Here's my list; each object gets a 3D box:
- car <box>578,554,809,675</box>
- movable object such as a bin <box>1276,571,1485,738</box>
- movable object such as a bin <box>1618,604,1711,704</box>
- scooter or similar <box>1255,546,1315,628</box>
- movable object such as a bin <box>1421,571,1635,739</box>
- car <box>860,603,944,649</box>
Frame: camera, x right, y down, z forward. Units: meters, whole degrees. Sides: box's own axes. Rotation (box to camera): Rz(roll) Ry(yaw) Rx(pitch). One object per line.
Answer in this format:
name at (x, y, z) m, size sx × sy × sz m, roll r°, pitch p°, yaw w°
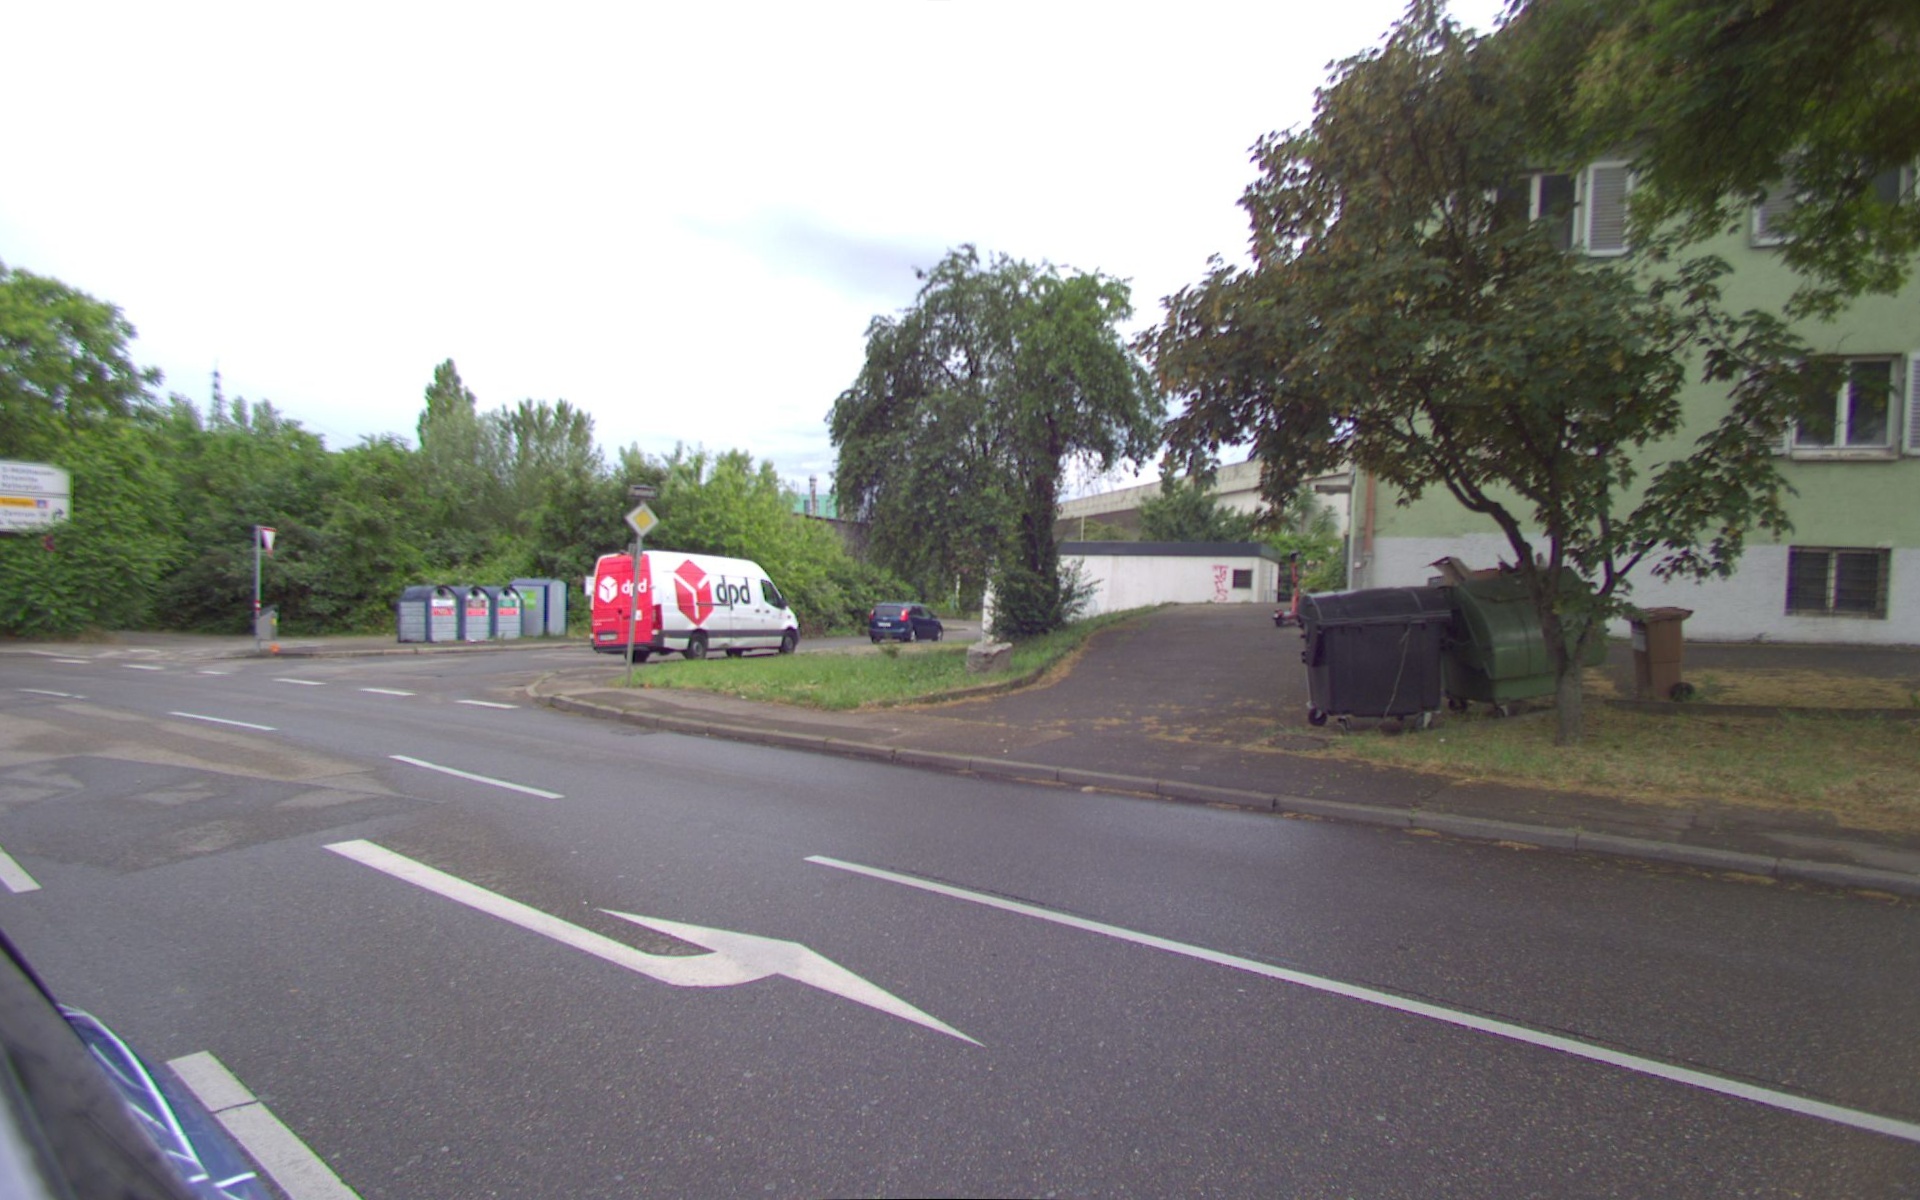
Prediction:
car at (-6.516, 0.296, 25.919) m, size 2.246 × 2.675 × 6.777 m, roll 1°, pitch 0°, yaw 20°
movable object such as a bin at (4.241, 0.500, 10.340) m, size 1.440 × 1.448 × 1.296 m, roll -5°, pitch 3°, yaw -6°
movable object such as a bin at (7.198, 0.531, 10.345) m, size 0.723 × 0.964 × 0.551 m, roll 1°, pitch 0°, yaw 41°
scooter or similar at (5.518, -0.244, 17.145) m, size 0.529 × 1.283 × 1.507 m, roll 1°, pitch 4°, yaw 35°
movable object such as a bin at (5.697, 0.510, 10.231) m, size 1.440 × 1.448 × 1.102 m, roll -5°, pitch 3°, yaw -6°
car at (-2.234, 0.986, 40.409) m, size 1.984 × 1.642 × 4.228 m, roll 1°, pitch 1°, yaw 18°
